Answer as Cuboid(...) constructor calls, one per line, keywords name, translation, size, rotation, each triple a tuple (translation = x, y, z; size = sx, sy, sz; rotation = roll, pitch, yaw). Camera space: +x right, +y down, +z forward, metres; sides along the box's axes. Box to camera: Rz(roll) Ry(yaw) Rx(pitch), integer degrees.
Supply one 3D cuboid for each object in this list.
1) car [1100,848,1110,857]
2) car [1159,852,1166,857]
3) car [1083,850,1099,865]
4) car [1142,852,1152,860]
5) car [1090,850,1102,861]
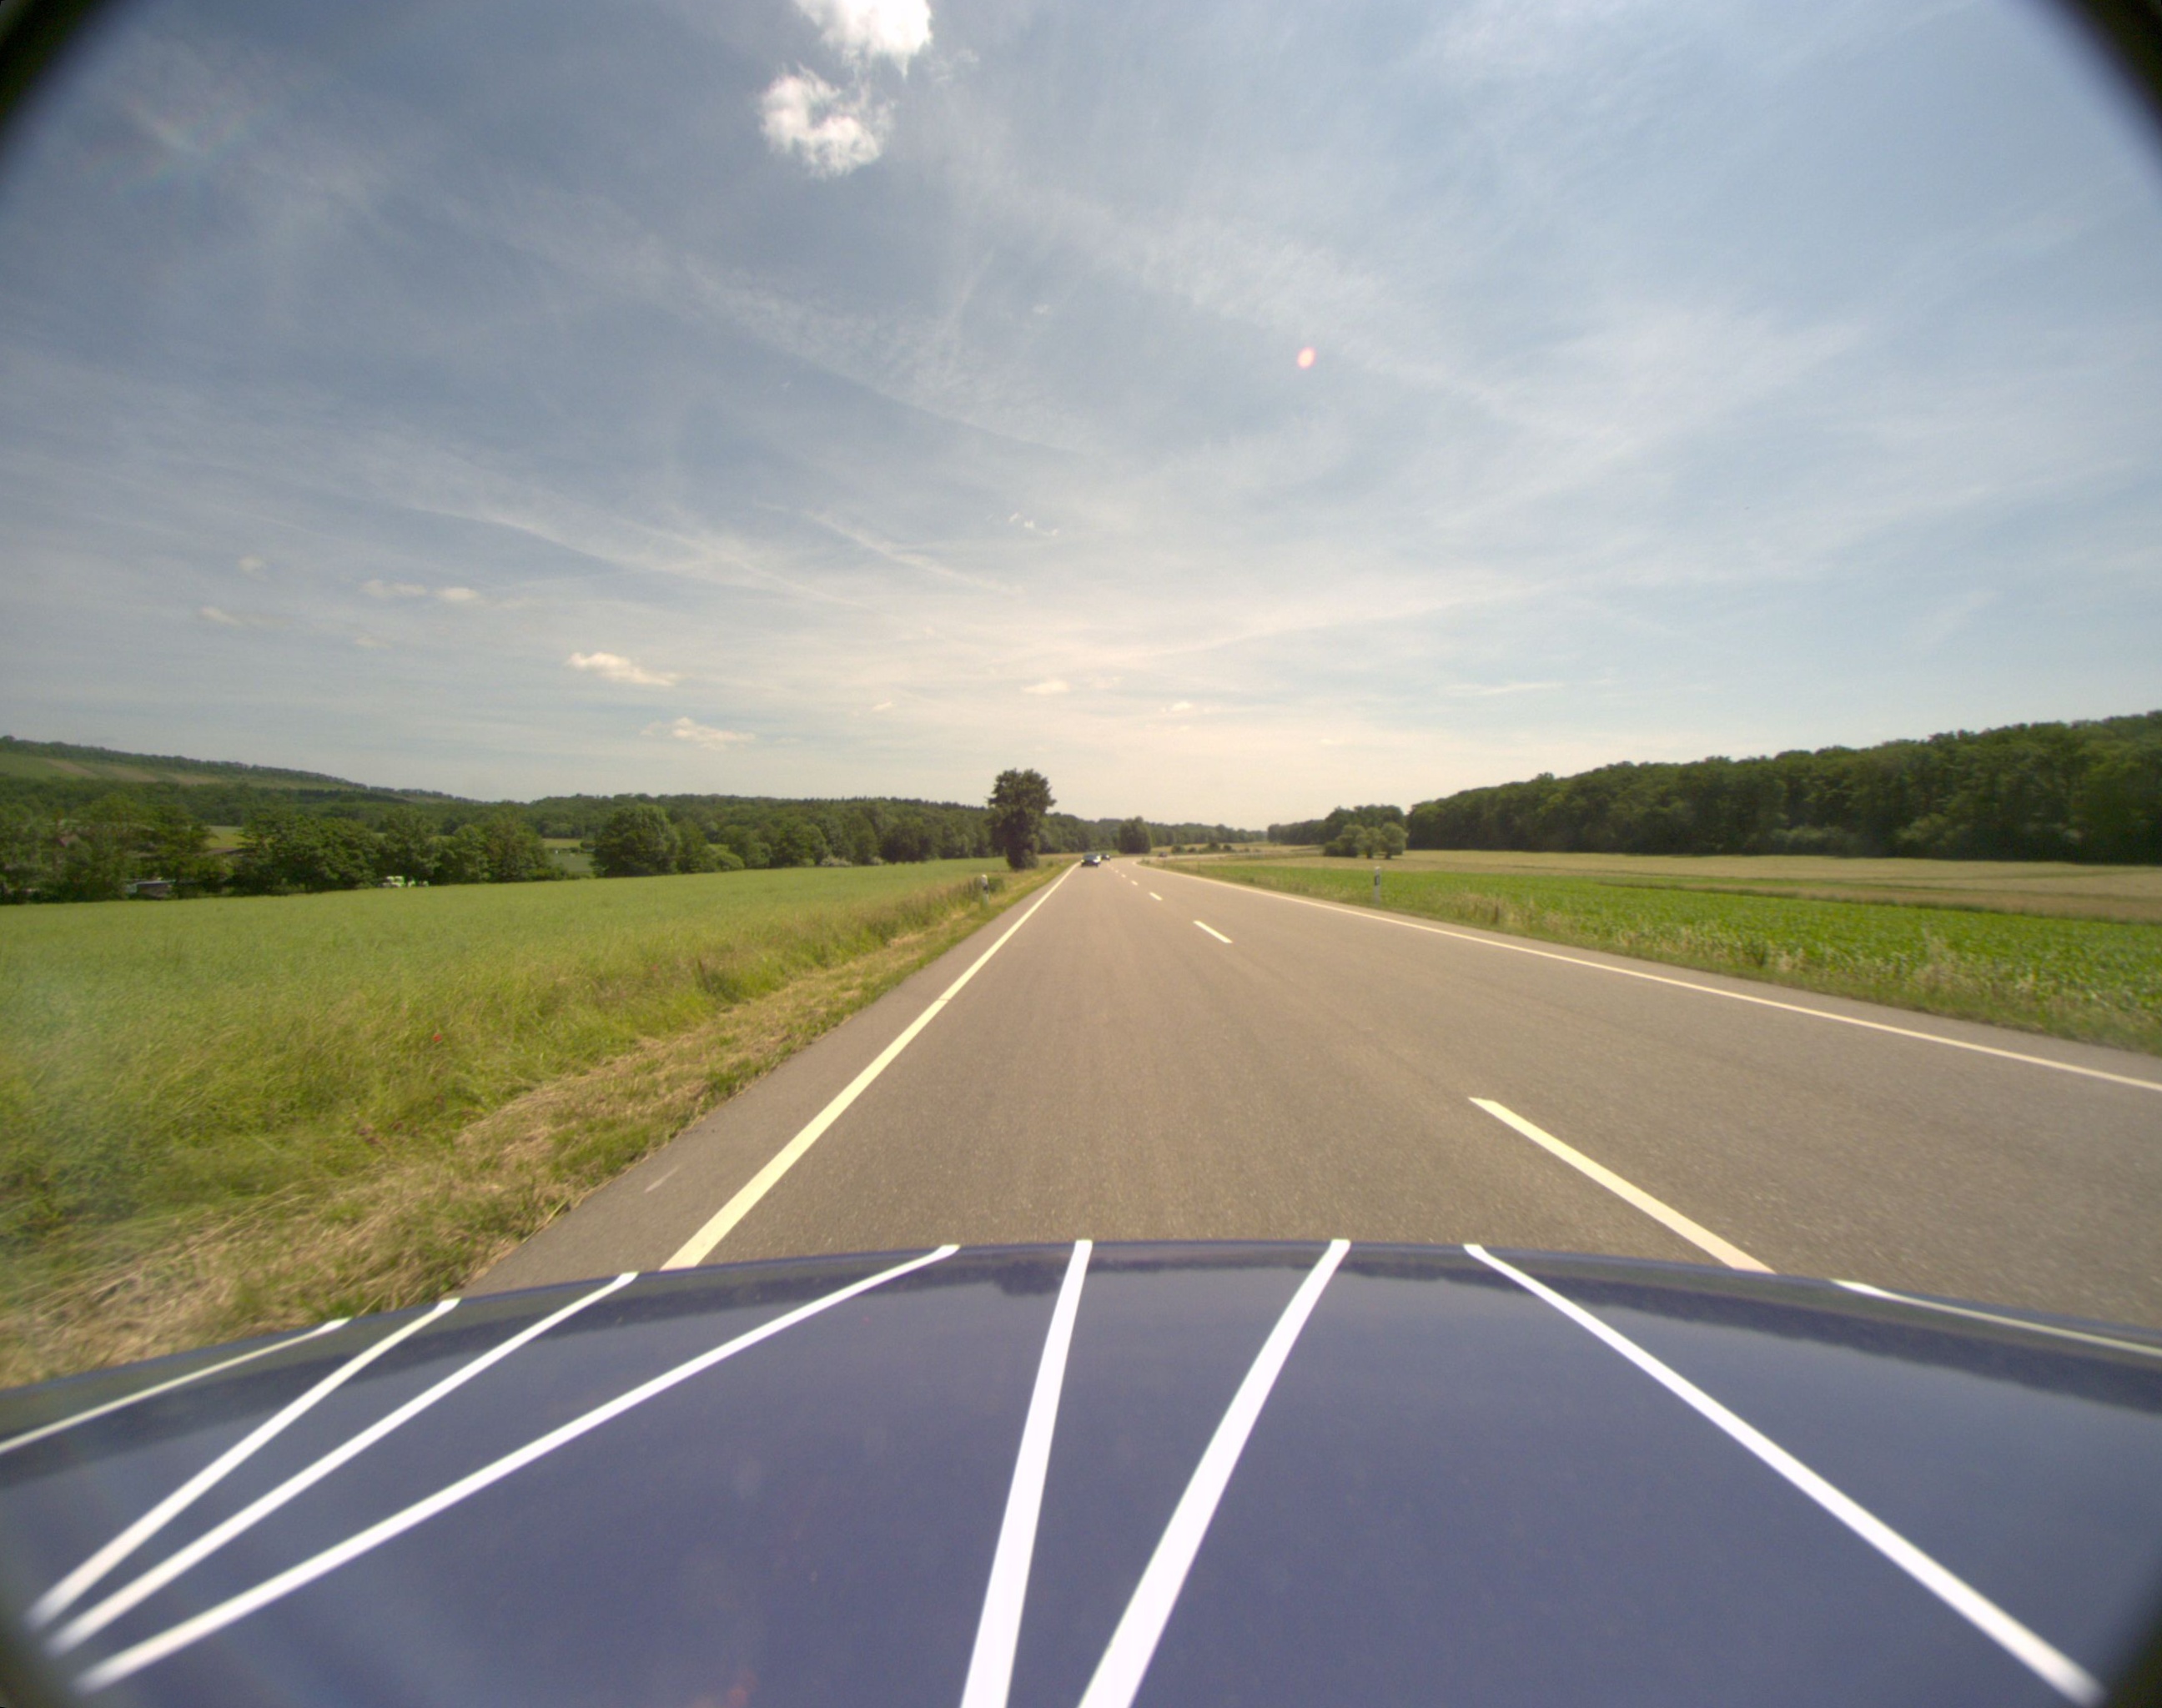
Cuboid(name="car", translation=(4.333, -0.236, 137.558), size=(1.621, 1.429, 3.442), rotation=(1, 2, 1))
Cuboid(name="car", translation=(23.900, 0.045, 223.130), size=(1.619, 1.428, 3.447), rotation=(0, 0, 15))
Cuboid(name="car", translation=(1.003, 0.324, 77.710), size=(1.622, 1.428, 3.442), rotation=(-1, 1, -1))
Cuboid(name="car", translation=(13.205, 0.401, 152.397), size=(1.666, 1.543, 3.601), rotation=(0, 0, 0))
Cuboid(name="car", translation=(1.977, 0.156, 100.360), size=(1.621, 1.428, 3.443), rotation=(1, 1, 1))
